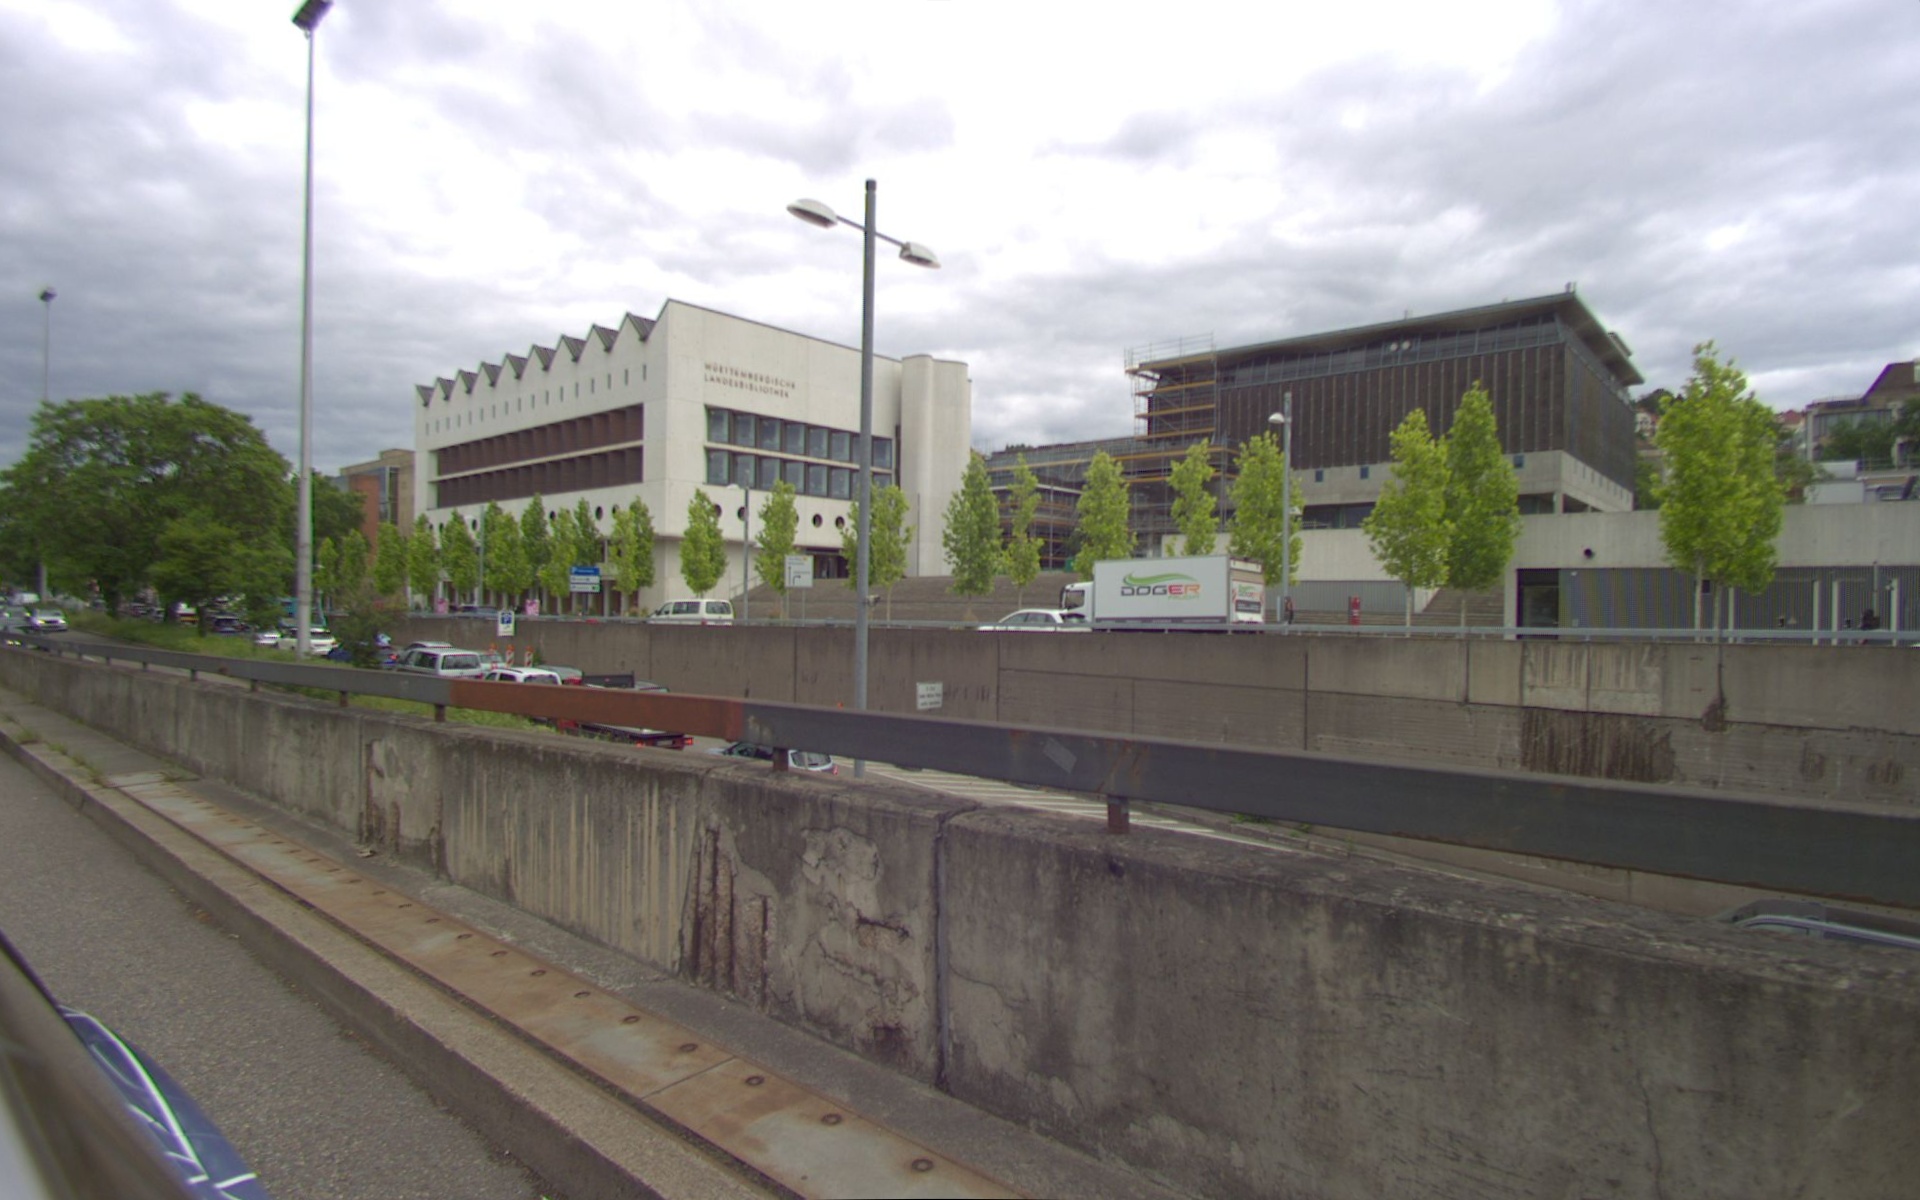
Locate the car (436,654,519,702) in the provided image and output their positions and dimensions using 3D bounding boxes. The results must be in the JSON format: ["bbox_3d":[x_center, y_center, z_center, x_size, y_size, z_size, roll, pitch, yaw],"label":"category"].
[{"bbox_3d":[-22.241,3.549,46.598,3.999,2.029,1.972,-2,-4,42],"label":"car"}]

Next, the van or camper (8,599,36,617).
[{"bbox_3d":[-109.407,0.930,118.014,3.999,2.029,2.010,-2,-1,42],"label":"van or camper"}]

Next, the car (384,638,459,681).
[{"bbox_3d":[-26.836,2.932,50.403,3.999,2.029,1.972,-2,-4,42],"label":"car"}]

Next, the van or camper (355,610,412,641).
[{"bbox_3d":[-40.089,1.775,70.288,4.553,2.029,1.973,-2,-1,40],"label":"van or camper"}]

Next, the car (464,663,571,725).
[{"bbox_3d":[-15.906,3.322,36.298,3.999,2.029,1.972,-2,-4,42],"label":"car"}]

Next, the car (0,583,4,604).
[{"bbox_3d":[-96.594,-0.583,100.626,1.968,2.029,4.007,-1,0,-40],"label":"car"}]

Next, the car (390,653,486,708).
[{"bbox_3d":[-21.091,3.207,40.831,4.331,2.029,1.972,-2,-4,42],"label":"car"}]

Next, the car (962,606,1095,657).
[{"bbox_3d":[2.222,1.053,33.689,4.270,1.586,1.700,-2,-1,43],"label":"car"}]

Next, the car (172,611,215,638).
[{"bbox_3d":[-62.778,2.030,82.848,3.999,2.029,1.972,-2,-4,42],"label":"car"}]

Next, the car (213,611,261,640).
[{"bbox_3d":[-52.813,1.898,73.921,3.999,2.029,1.972,-2,-4,42],"label":"car"}]

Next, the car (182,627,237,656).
[{"bbox_3d":[-46.403,2.552,62.538,3.999,1.672,1.972,-2,-1,42],"label":"car"}]

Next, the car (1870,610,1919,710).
[{"bbox_3d":[19.692,1.086,18.652,4.256,1.829,1.972,-2,-1,42],"label":"car"}]

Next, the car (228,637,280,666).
[{"bbox_3d":[-39.736,2.857,56.923,3.360,1.497,1.653,-1,-2,42],"label":"car"}]

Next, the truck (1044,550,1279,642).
[{"bbox_3d":[6.794,-0.030,34.795,7.248,2.809,3.198,-2,-1,41],"label":"truck"}]

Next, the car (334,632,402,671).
[{"bbox_3d":[-32.215,2.787,55.049,3.999,2.029,1.972,-2,-4,42],"label":"car"}]

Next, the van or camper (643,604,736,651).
[{"bbox_3d":[-12.538,1.266,46.731,4.555,2.029,1.972,-2,-1,42],"label":"van or camper"}]

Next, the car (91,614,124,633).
[{"bbox_3d":[-70.842,1.926,84.076,3.360,1.497,1.653,-2,-1,42],"label":"car"}]

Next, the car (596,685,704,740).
[{"bbox_3d":[-11.333,4.040,36.926,3.998,1.563,1.973,-1,0,42],"label":"car"}]

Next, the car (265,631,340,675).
[{"bbox_3d":[-33.966,2.736,52.257,4.850,2.148,1.972,-2,-4,42],"label":"car"}]

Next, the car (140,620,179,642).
[{"bbox_3d":[-57.007,2.224,72.064,3.360,1.497,1.653,-2,-1,42],"label":"car"}]

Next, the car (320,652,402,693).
[{"bbox_3d":[-27.640,3.304,46.657,4.280,1.757,1.972,-2,-4,42],"label":"car"}]

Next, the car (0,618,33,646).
[{"bbox_3d":[-71.008,2.375,75.728,3.999,2.029,1.972,0,-1,42],"label":"car"}]

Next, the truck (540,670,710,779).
[{"bbox_3d":[-10.361,3.658,30.972,5.978,2.711,2.293,-2,-1,42],"label":"truck"}]

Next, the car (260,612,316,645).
[{"bbox_3d":[-43.549,1.859,65.559,3.999,2.029,1.972,-2,-4,42],"label":"car"}]

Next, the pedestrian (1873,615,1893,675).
[{"bbox_3d":[23.984,1.156,26.295,0.316,1.533,0.409,-1,0,35],"label":"pedestrian"}]

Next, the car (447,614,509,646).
[{"bbox_3d":[-28.942,1.789,60.742,3.999,1.829,1.972,-2,-1,42],"label":"car"}]

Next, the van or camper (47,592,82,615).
[{"bbox_3d":[-84.661,0.360,95.641,3.999,2.029,2.010,-2,-1,42],"label":"van or camper"}]

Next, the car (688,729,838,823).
[{"bbox_3d":[-5.159,4.489,26.305,3.926,1.829,1.771,-2,-1,41],"label":"car"}]

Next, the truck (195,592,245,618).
[{"bbox_3d":[-66.199,0.465,90.451,5.608,2.174,1.979,-2,-1,36],"label":"truck"}]

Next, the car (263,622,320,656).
[{"bbox_3d":[-43.096,2.494,65.202,4.654,2.029,1.972,-2,-1,42],"label":"car"}]
